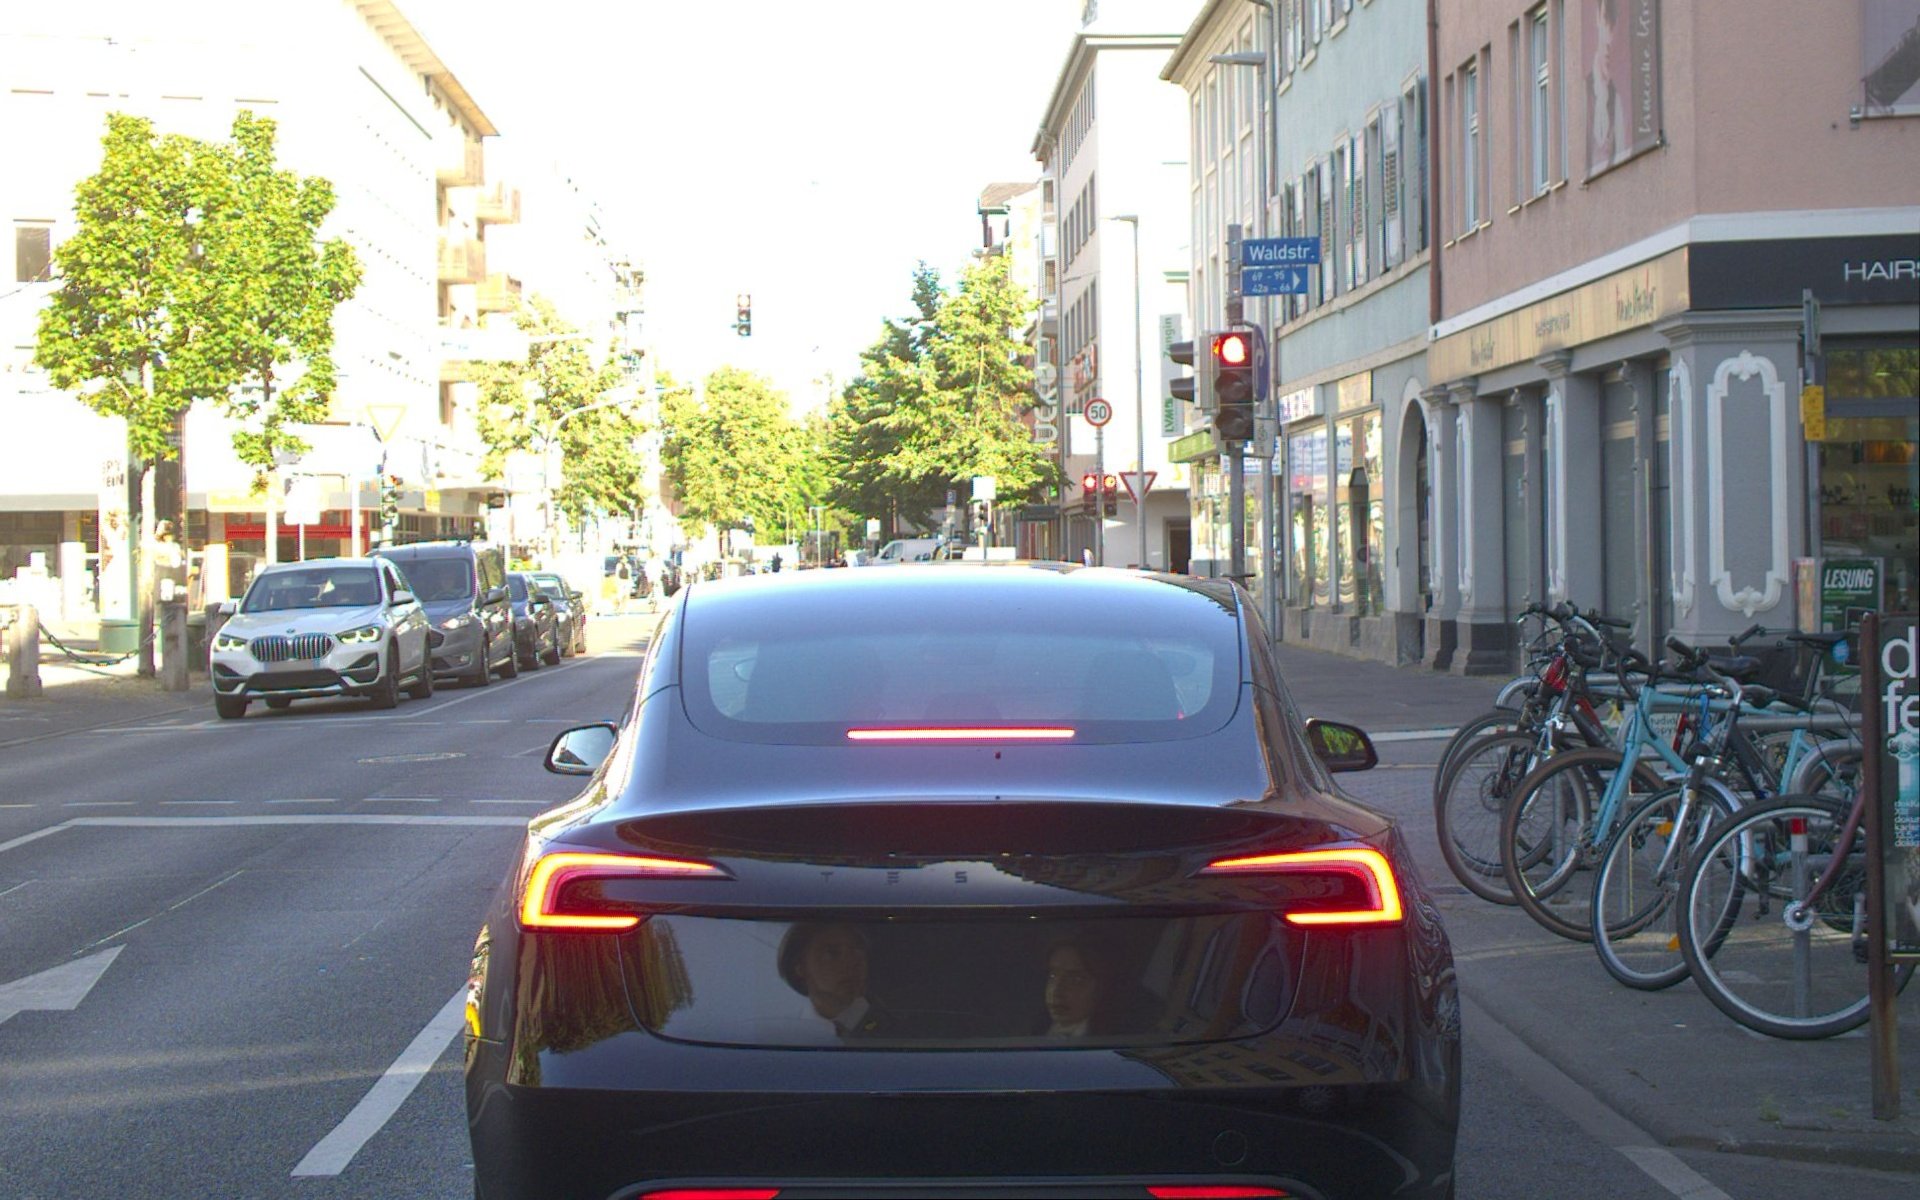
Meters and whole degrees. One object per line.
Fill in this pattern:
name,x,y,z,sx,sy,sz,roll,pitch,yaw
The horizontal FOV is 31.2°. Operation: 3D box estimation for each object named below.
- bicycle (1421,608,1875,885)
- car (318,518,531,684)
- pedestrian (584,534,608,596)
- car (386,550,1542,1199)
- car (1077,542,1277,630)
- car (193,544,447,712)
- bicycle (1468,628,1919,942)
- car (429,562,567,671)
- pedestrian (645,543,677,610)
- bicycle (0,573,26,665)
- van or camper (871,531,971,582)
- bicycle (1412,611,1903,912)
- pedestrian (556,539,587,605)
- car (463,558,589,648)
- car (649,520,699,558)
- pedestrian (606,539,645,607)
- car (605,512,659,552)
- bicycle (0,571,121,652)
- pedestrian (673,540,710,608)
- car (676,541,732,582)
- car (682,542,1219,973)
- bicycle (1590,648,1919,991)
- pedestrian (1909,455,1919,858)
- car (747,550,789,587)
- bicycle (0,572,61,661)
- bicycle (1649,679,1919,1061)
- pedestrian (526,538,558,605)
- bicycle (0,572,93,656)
bicycle,2.925,0.615,14.736,1.813,1.148,0.653,0,1,1
car,-6.571,-0.030,42.662,1.945,1.940,4.820,0,1,-1
pedestrian,-10.996,-1.067,103.877,0.695,1.861,0.659,1,0,-5
car,-0.021,0.631,7.773,1.850,1.442,4.452,1,1,-1
car,4.710,-0.319,74.674,3.992,1.861,1.698,0,1,-21
car,-6.685,0.259,36.339,1.825,1.559,4.301,-4,1,-1
bicycle,2.803,0.659,12.528,1.813,1.098,0.653,0,1,1
car,-6.652,0.210,49.796,1.461,1.425,3.606,-4,1,-1
pedestrian,-8.334,-0.656,95.860,0.694,1.861,0.910,1,0,-16
bicycle,-14.485,0.241,47.545,2.875,1.266,0.943,1,0,-3
van or camper,-1.902,-2.126,167.548,4.850,2.430,1.851,0,1,-1
bicycle,2.734,0.623,13.601,1.813,1.148,0.653,0,1,1
pedestrian,-10.972,-0.794,97.113,0.732,1.861,0.791,1,0,-17
car,-7.129,0.026,56.746,1.693,1.385,3.916,-2,0,-2
car,-15.651,-3.347,188.280,2.275,2.007,4.717,1,1,1
pedestrian,-9.208,-0.746,94.731,0.734,1.861,0.789,1,0,28
car,-17.127,-3.528,179.640,2.275,2.007,4.717,1,1,1
bicycle,-14.693,0.169,54.563,2.542,1.247,0.943,1,0,-3
pedestrian,-7.476,-0.732,95.710,0.774,1.861,1.009,1,0,-17
car,-12.396,-1.862,166.450,2.414,1.963,4.678,0,1,-1
car,-0.057,0.527,14.197,1.850,1.476,4.452,1,1,-1
bicycle,3.003,0.695,11.121,1.813,1.056,0.653,0,1,1
pedestrian,4.829,0.252,14.633,1.059,1.714,1.112,0,1,-44
car,-10.444,-1.733,187.133,2.132,1.963,4.134,0,1,-1
bicycle,-14.487,0.223,49.864,2.662,1.255,0.943,1,0,-3
bicycle,3.029,0.762,10.050,1.882,1.040,0.653,-1,1,1
pedestrian,-11.784,-0.804,96.954,0.732,1.861,0.791,1,0,-17
bicycle,-14.532,0.196,52.139,2.542,1.247,0.943,1,0,-3
